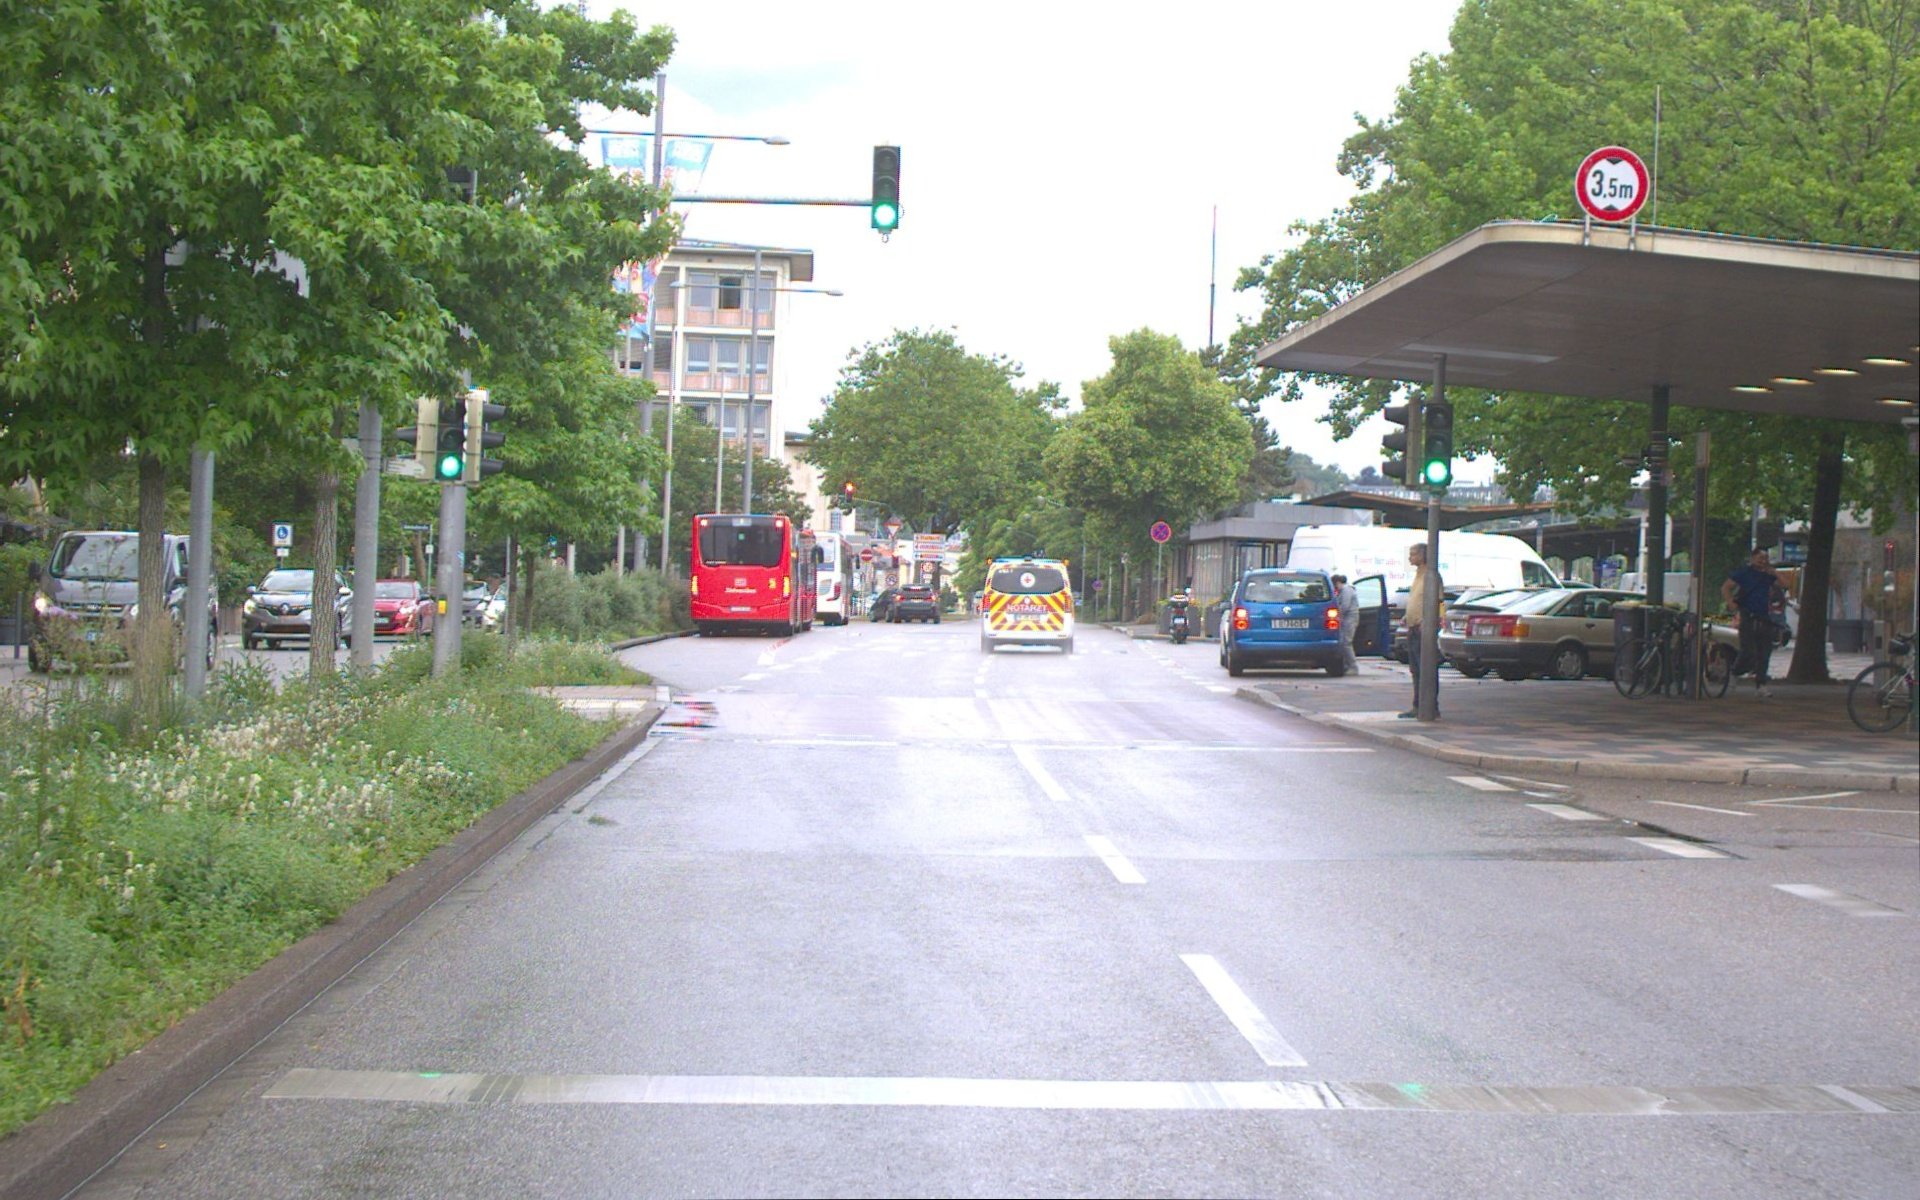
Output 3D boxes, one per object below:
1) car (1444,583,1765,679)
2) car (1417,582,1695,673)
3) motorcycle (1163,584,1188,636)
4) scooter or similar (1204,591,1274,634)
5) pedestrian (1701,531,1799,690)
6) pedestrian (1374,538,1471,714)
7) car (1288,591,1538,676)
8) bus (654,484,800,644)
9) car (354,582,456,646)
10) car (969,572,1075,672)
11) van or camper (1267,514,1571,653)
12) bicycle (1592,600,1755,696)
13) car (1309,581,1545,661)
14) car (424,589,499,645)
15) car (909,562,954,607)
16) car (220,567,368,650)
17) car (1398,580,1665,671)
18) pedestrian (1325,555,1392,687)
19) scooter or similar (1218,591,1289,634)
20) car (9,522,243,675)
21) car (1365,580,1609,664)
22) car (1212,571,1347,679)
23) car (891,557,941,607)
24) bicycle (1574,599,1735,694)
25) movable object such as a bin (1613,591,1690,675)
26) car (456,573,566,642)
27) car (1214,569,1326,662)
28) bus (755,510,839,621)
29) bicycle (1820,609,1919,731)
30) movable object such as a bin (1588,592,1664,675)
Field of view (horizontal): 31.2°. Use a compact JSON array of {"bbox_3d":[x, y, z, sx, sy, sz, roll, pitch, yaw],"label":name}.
[{"bbox_3d":[9.278,0.451,49.541,4.184,1.321,1.841,1,0,-21],"label":"car"},{"bbox_3d":[9.229,0.434,53.207,3.987,1.354,1.865,1,0,-31],"label":"car"},{"bbox_3d":[5.438,0.238,86.850,0.595,1.284,1.953,0,1,5],"label":"motorcycle"},{"bbox_3d":[7.274,0.323,89.588,2.145,1.106,0.427,0,1,-40],"label":"scooter or similar"},{"bbox_3d":[9.234,0.121,40.221,0.856,1.829,1.190,0,0,-1],"label":"pedestrian"},{"bbox_3d":[4.629,0.259,34.464,0.746,1.741,0.836,0,0,-9],"label":"pedestrian"},{"bbox_3d":[7.942,0.585,60.298,3.986,1.438,1.865,1,0,-27],"label":"car"},{"bbox_3d":[-6.058,-0.918,91.254,3.544,3.966,11.172,-1,0,-2],"label":"bus"},{"bbox_3d":[-12.786,0.309,79.375,1.747,1.425,3.953,-1,0,-1],"label":"car"},{"bbox_3d":[1.254,0.434,71.642,1.993,2.007,5.062,-1,0,-1],"label":"car"},{"bbox_3d":[9.362,-0.354,70.006,5.946,2.753,2.199,-1,0,-28],"label":"van or camper"},{"bbox_3d":[8.041,0.533,38.738,1.827,1.052,0.420,-1,0,-19],"label":"bicycle"},{"bbox_3d":[8.697,0.397,63.948,3.986,1.438,1.865,1,0,-27],"label":"car"},{"bbox_3d":[-13.887,0.458,95.990,1.597,1.525,3.653,-1,0,-1],"label":"car"},{"bbox_3d":[-1.312,-0.687,155.686,1.993,2.007,4.000,-1,0,-1],"label":"car"},{"bbox_3d":[-12.759,0.148,66.146,1.993,1.538,4.633,-1,0,-1],"label":"car"},{"bbox_3d":[9.398,0.424,56.530,3.986,1.438,1.865,1,0,-27],"label":"car"},{"bbox_3d":[6.136,0.314,52.948,0.831,2.007,0.889,-1,0,-5],"label":"pedestrian"},{"bbox_3d":[7.624,0.318,89.225,2.145,1.106,0.443,0,1,-40],"label":"scooter or similar"},{"bbox_3d":[-11.571,-0.029,48.052,1.993,2.007,5.001,-1,0,0],"label":"car"},{"bbox_3d":[9.475,0.399,61.758,3.986,1.438,1.865,1,0,-27],"label":"car"},{"bbox_3d":[4.852,0.379,52.607,1.859,1.564,3.999,1,0,3],"label":"car"},{"bbox_3d":[-1.813,-0.741,140.389,1.993,2.007,4.000,-1,0,-1],"label":"car"},{"bbox_3d":[7.920,0.527,39.184,1.827,1.052,0.420,-1,0,-19],"label":"bicycle"},{"bbox_3d":[8.965,0.422,44.597,0.751,1.063,0.749,-1,0,-10],"label":"movable object such as a bin"},{"bbox_3d":[-10.369,0.156,79.693,1.993,1.538,4.633,-1,0,-1],"label":"car"},{"bbox_3d":[5.253,0.262,58.569,1.788,1.517,3.681,1,0,4],"label":"car"},{"bbox_3d":[-5.745,-1.186,121.124,2.805,3.734,10.446,0,0,-3],"label":"bus"},{"bbox_3d":[8.560,0.609,30.348,1.827,1.052,0.420,-1,0,-1],"label":"bicycle"},{"bbox_3d":[8.869,0.441,45.786,0.751,1.091,0.749,-1,0,-13],"label":"movable object such as a bin"}]
